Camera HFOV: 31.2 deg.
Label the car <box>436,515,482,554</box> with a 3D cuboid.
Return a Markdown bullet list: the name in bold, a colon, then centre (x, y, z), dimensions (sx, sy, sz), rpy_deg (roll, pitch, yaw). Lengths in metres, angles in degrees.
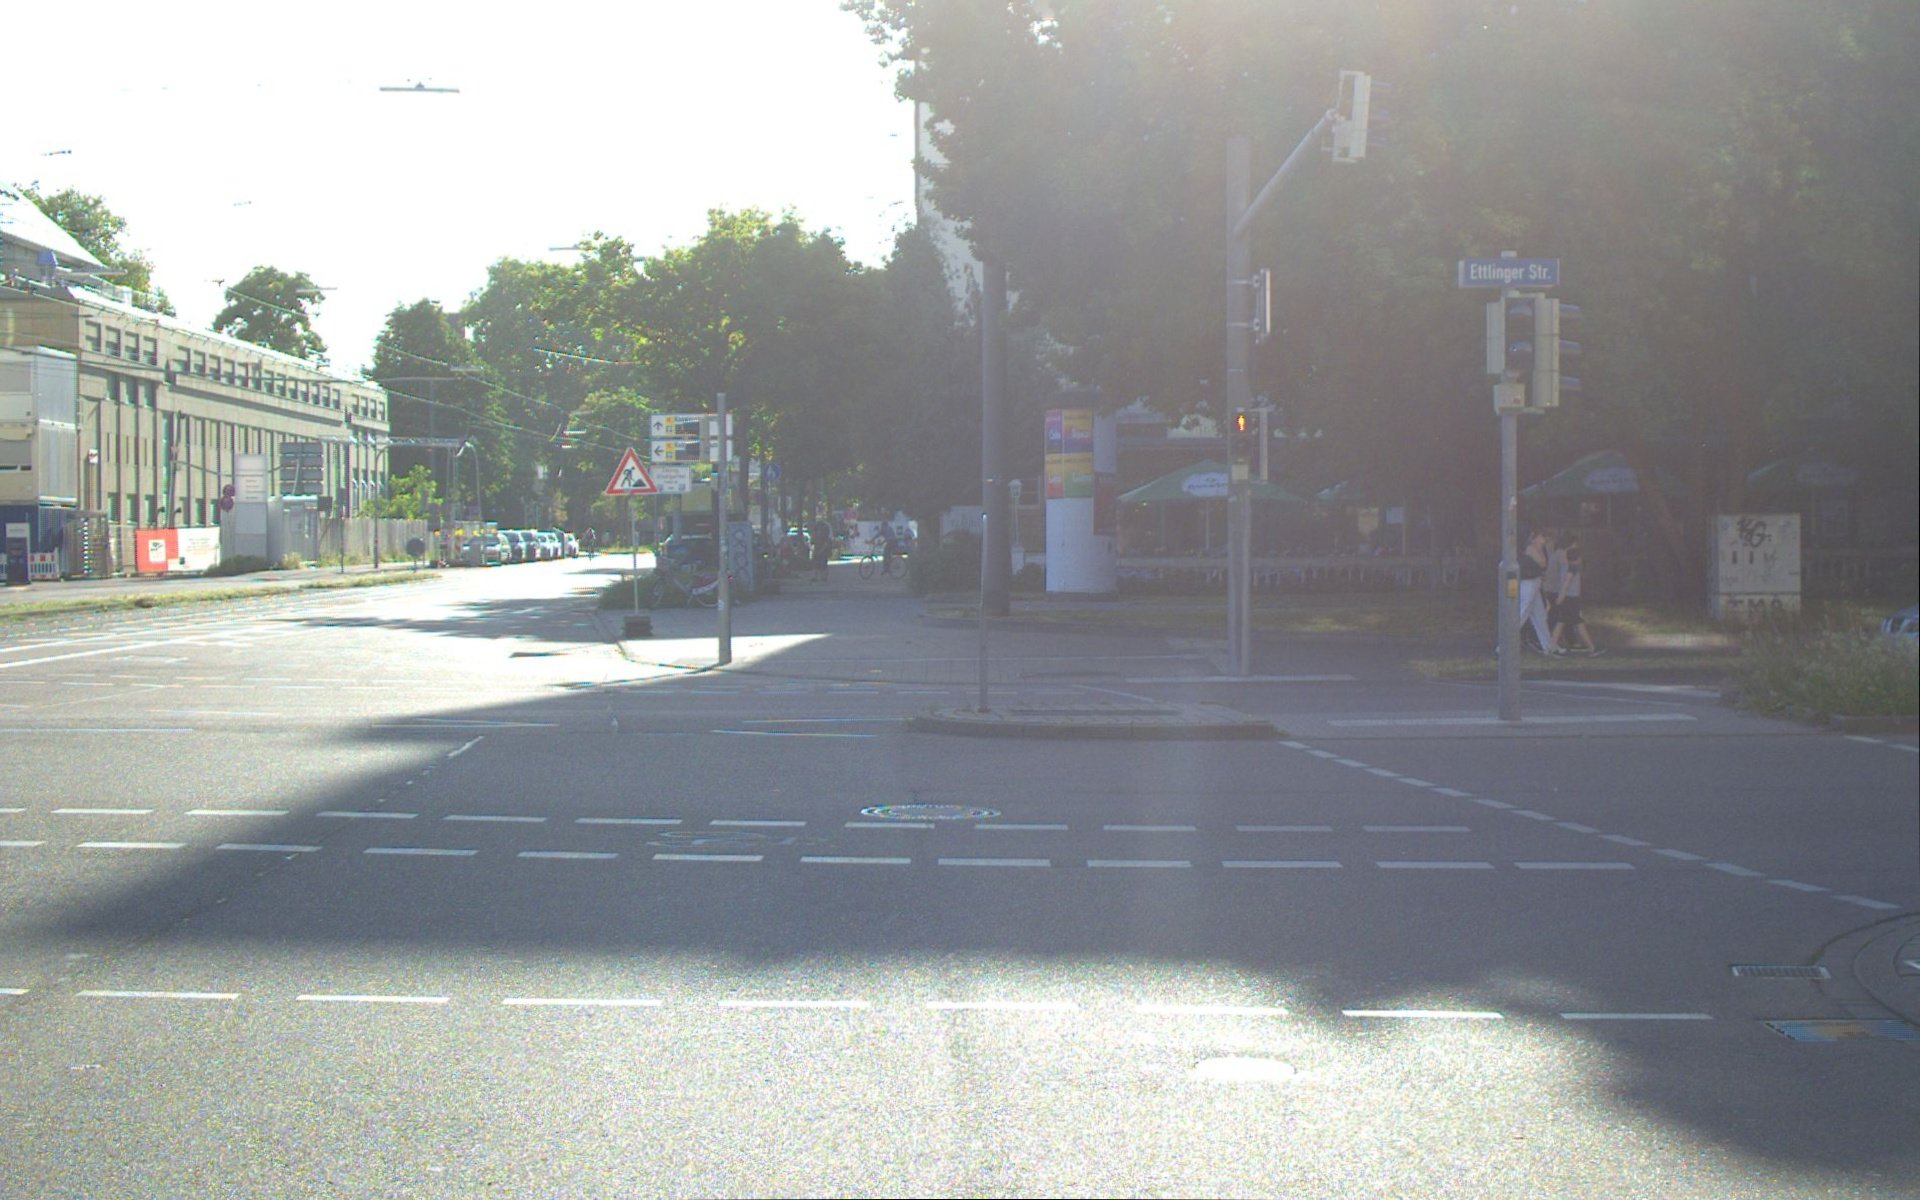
- **car**: centre (-22.778, -2.957, 156.443), dimensions (1.692, 1.712, 4.248), rpy_deg (1, 1, -4)

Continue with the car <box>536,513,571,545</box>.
- **car**: centre (-23.017, -4.020, 194.689), dimensions (1.692, 1.712, 4.248), rpy_deg (1, 1, -4)

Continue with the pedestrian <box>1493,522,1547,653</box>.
- **pedestrian**: centre (7.169, -0.162, 44.024), dimensions (0.583, 1.657, 0.514), rpy_deg (1, 2, 2)

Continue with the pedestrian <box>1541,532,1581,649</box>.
- **pedestrian**: centre (7.780, -0.128, 44.502), dimensions (0.439, 1.498, 0.437), rpy_deg (0, 1, 1)

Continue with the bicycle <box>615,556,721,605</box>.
- **bicycle**: centre (-5.732, -0.380, 67.478), dimensions (2.018, 0.888, 0.650), rpy_deg (-2, 0, 27)

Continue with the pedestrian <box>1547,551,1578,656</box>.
- **pedestrian**: centre (7.622, 0.041, 43.477), dimensions (0.317, 1.311, 0.345), rpy_deg (1, 2, 2)

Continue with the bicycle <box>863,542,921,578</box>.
- **bicycle**: centre (-2.067, -1.215, 104.454), dimensions (1.829, 1.073, 0.576), rpy_deg (0, 1, 40)

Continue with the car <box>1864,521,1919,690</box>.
- **car**: centre (11.009, 0.020, 33.412), dimensions (3.993, 1.605, 1.650), rpy_deg (-1, 1, -1)

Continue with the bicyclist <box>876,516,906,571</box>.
- **bicyclist**: centre (-2.088, -1.715, 104.455), dimensions (0.699, 1.685, 0.570), rpy_deg (0, 1, 41)

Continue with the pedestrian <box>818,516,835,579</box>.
- **pedestrian**: centre (-3.826, -1.512, 98.429), dimensions (0.463, 1.807, 0.503), rpy_deg (0, 1, -5)
